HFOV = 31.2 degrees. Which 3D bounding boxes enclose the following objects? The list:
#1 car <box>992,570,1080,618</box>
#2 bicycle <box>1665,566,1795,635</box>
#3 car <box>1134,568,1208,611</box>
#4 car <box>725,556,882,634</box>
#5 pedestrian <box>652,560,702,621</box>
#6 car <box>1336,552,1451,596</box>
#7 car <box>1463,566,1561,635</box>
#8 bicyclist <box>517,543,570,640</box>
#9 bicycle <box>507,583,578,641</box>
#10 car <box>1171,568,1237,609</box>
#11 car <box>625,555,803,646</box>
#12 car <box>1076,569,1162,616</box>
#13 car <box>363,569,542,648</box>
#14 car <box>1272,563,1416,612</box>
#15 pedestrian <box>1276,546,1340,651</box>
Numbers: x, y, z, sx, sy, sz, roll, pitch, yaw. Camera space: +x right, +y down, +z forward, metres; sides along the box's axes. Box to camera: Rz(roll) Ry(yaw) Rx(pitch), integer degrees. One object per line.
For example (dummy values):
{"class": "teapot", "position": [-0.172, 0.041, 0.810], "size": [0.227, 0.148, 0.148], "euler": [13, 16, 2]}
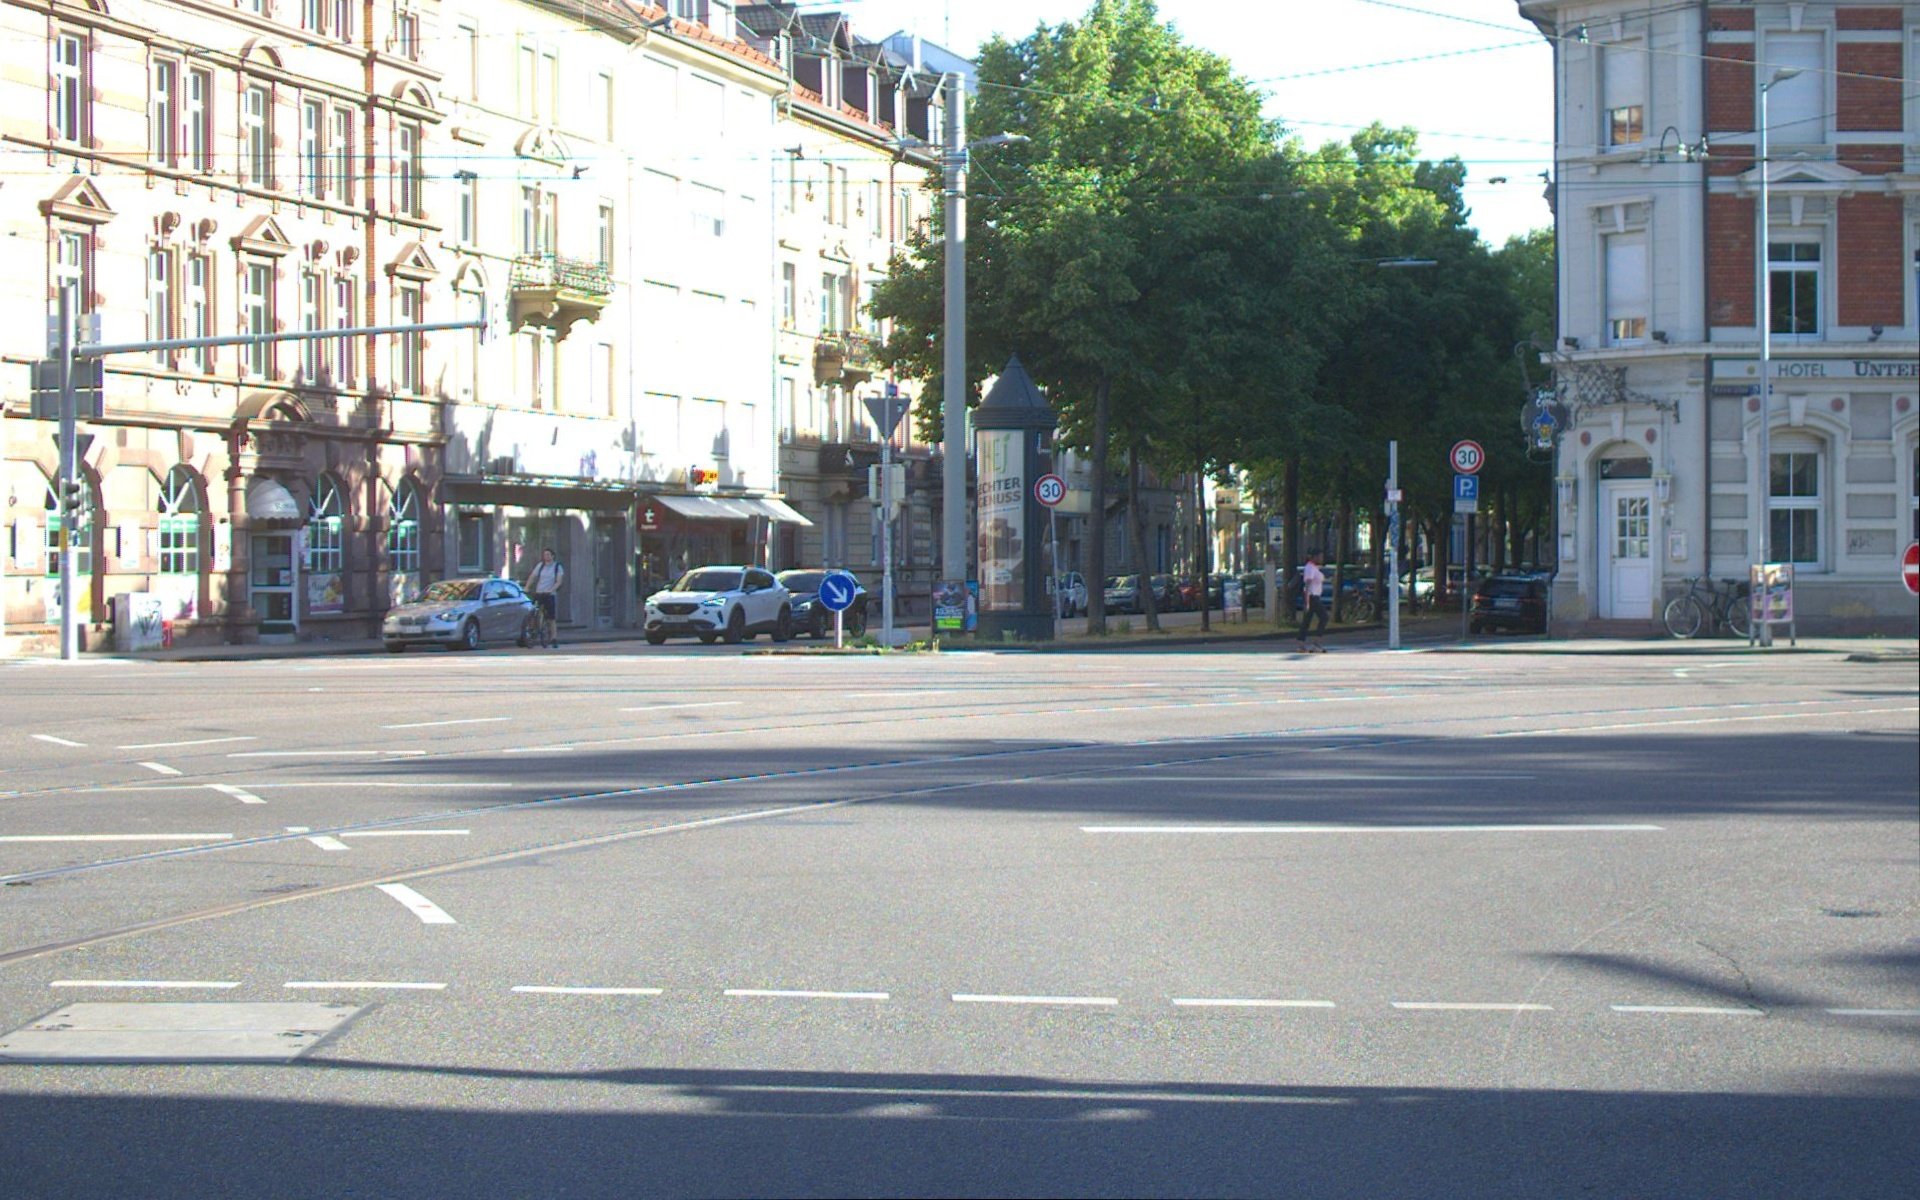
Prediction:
{"class": "car", "position": [2.484, -0.220, 110.973], "size": [1.995, 1.481, 3.998], "euler": [0, 1, 14]}
{"class": "bicycle", "position": [12.855, 0.009, 57.400], "size": [2.085, 1.120, 0.367], "euler": [1, 0, -4]}
{"class": "car", "position": [8.030, -0.414, 130.465], "size": [1.839, 1.547, 4.387], "euler": [0, 1, 17]}
{"class": "car", "position": [-3.320, -0.134, 73.848], "size": [1.995, 1.606, 4.387], "euler": [0, 1, 17]}
{"class": "pedestrian", "position": [-7.203, -0.250, 87.572], "size": [0.929, 1.530, 1.136], "euler": [0, 1, 14]}
{"class": "car", "position": [16.858, -1.010, 133.635], "size": [3.993, 1.700, 1.997], "euler": [0, 1, 30]}
{"class": "car", "position": [13.267, -0.010, 82.451], "size": [1.995, 1.579, 3.998], "euler": [0, 1, 14]}
{"class": "bicyclist", "position": [-7.880, -0.162, 65.057], "size": [0.679, 1.814, 1.070], "euler": [0, 1, 12]}
{"class": "bicycle", "position": [-7.890, 0.218, 65.021], "size": [0.680, 1.062, 2.124], "euler": [0, 1, 12]}
{"class": "car", "position": [9.696, -0.463, 136.342], "size": [1.766, 1.544, 4.387], "euler": [0, 1, 16]}
{"class": "car", "position": [-4.766, -0.017, 67.335], "size": [1.995, 1.678, 4.387], "euler": [0, 1, 17]}
{"class": "car", "position": [5.703, -0.295, 122.675], "size": [1.995, 1.607, 4.387], "euler": [0, 1, 17]}
{"class": "car", "position": [-9.854, 0.149, 67.060], "size": [1.900, 1.450, 3.997], "euler": [0, 1, 17]}
{"class": "car", "position": [12.891, -0.434, 115.349], "size": [4.382, 1.606, 1.997], "euler": [0, 1, 27]}
{"class": "pedestrian", "position": [5.809, -0.035, 57.398], "size": [1.046, 1.738, 0.808], "euler": [0, 1, 6]}
